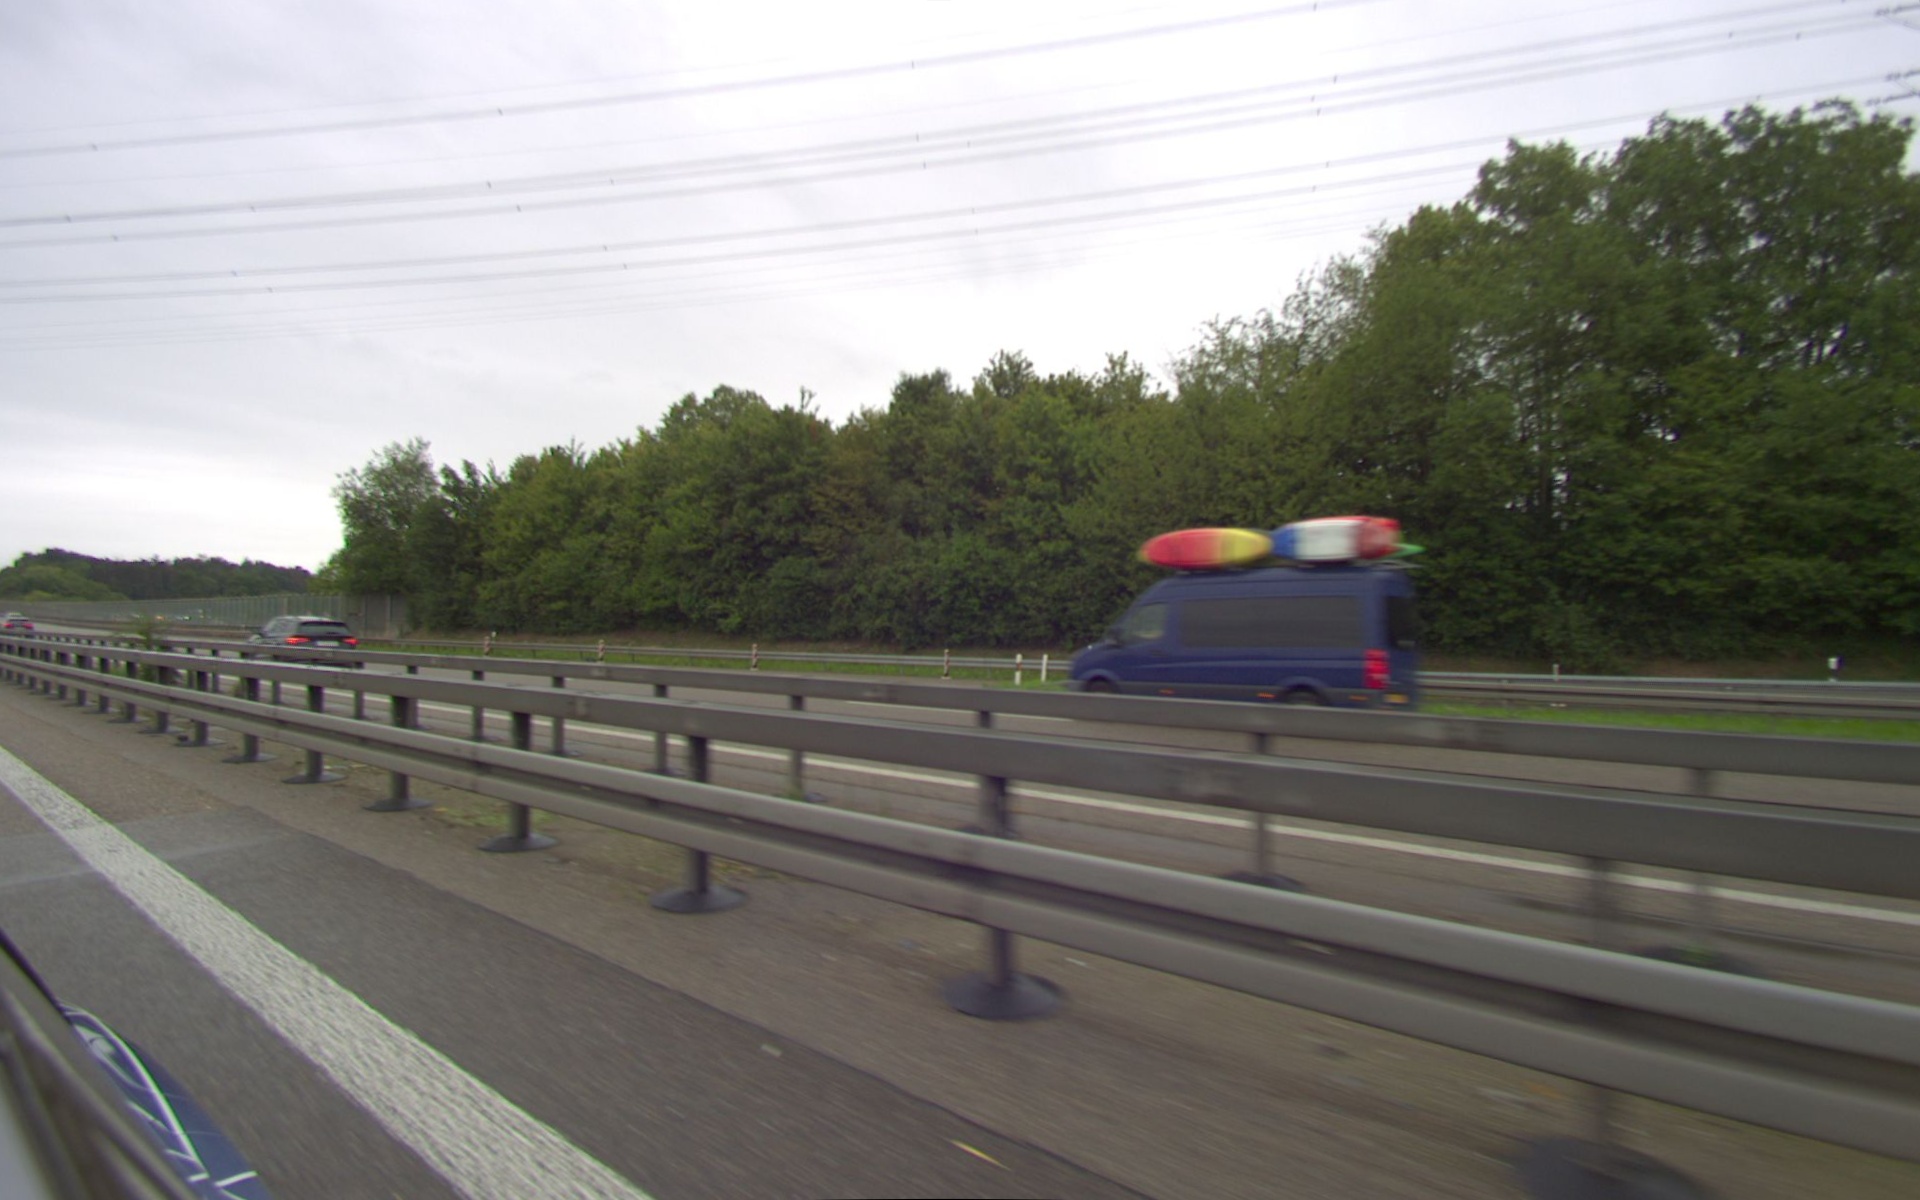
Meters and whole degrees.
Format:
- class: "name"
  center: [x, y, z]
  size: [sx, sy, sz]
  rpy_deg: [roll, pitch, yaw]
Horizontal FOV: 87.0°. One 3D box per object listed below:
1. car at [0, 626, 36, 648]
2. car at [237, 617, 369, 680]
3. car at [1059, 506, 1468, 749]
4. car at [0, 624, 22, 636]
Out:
- class: "car"
  center: [-68.067, 2.668, 72.798]
  size: [4.788, 1.524, 1.803]
  rpy_deg: [-1, -3, 41]
- class: "car"
  center: [-18.791, 1.348, 28.868]
  size: [4.788, 1.668, 1.903]
  rpy_deg: [-1, -3, 41]
- class: "car"
  center: [4.813, 0.471, 16.866]
  size: [6.172, 3.353, 2.230]
  rpy_deg: [-1, -3, 41]
- class: "car"
  center: [-146.280, 4.560, 155.998]
  size: [4.913, 1.833, 1.929]
  rpy_deg: [-1, -2, 41]
